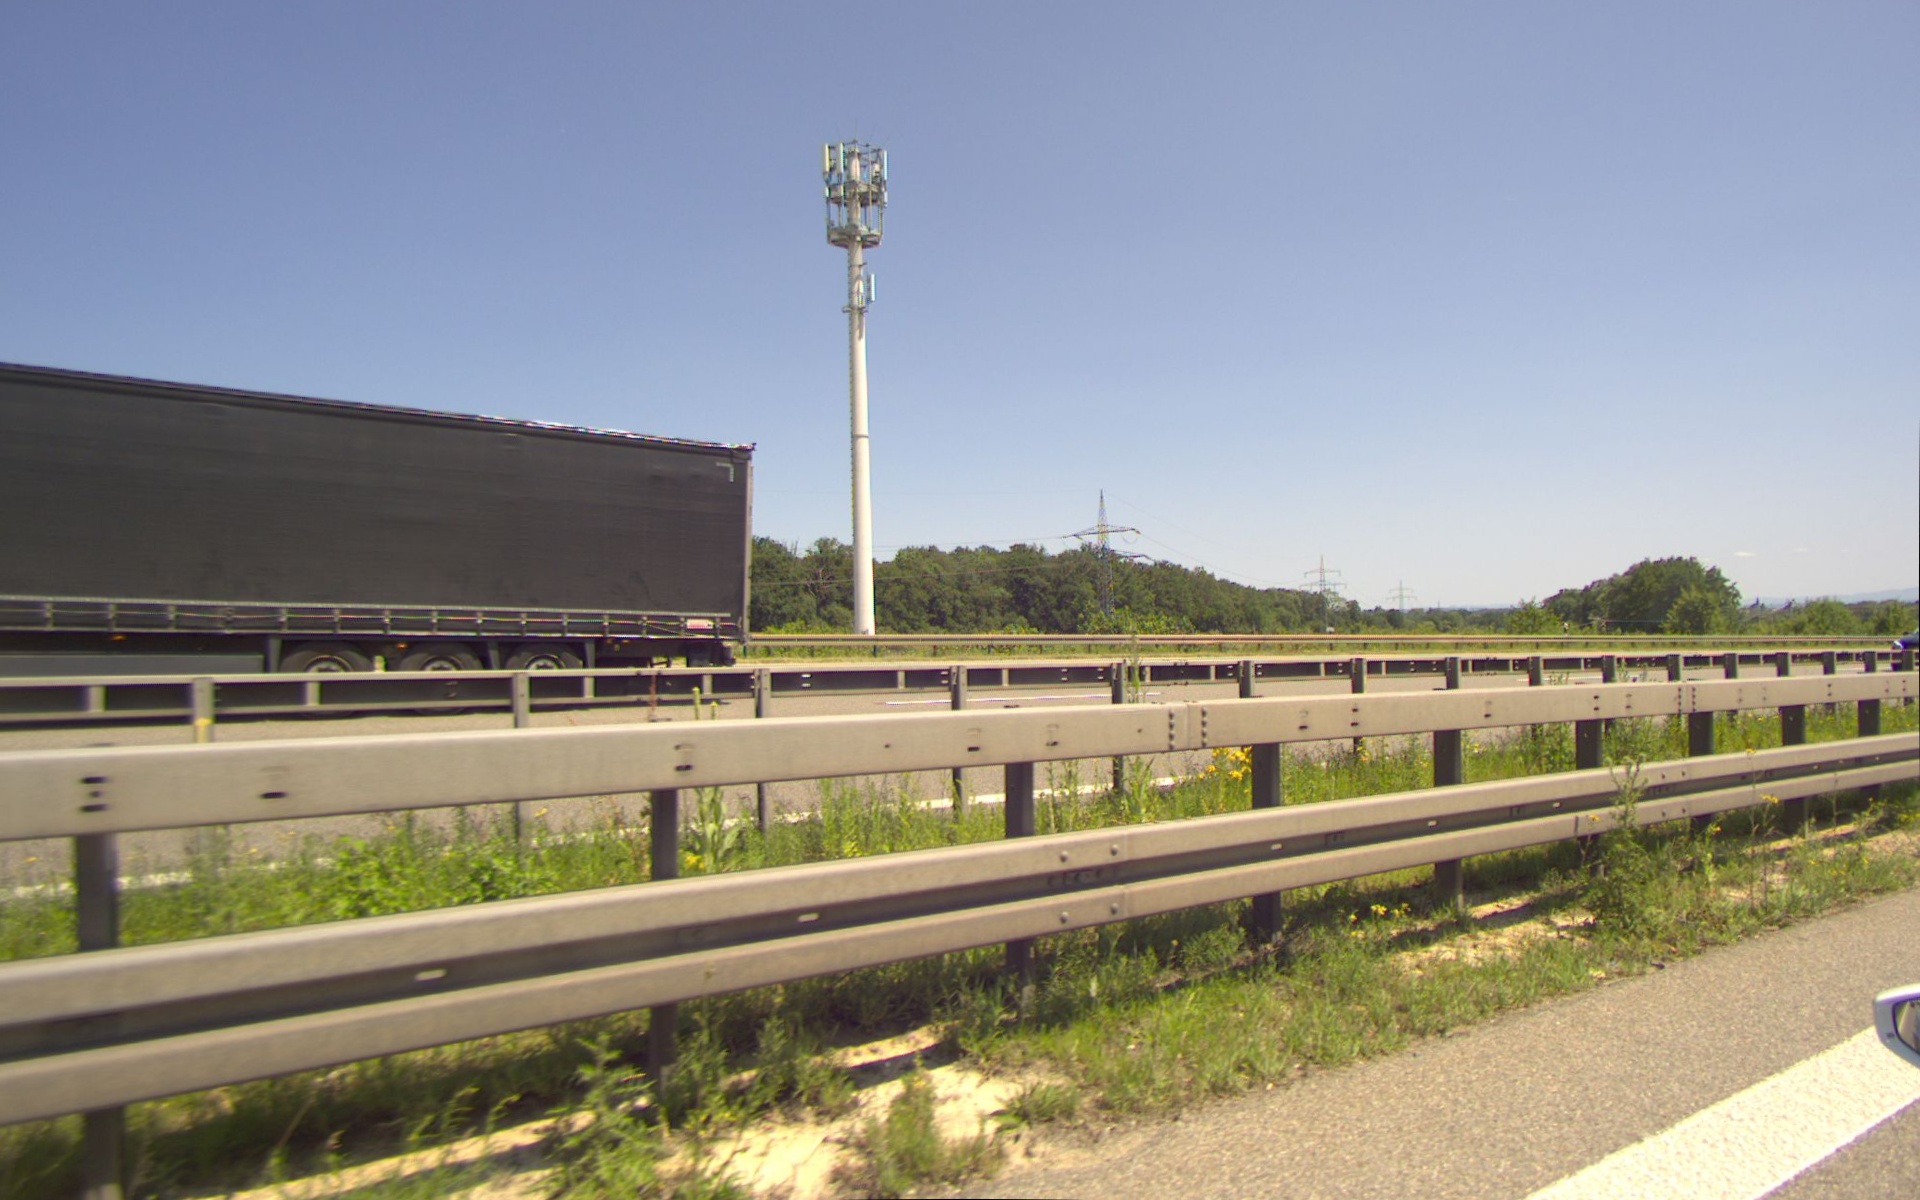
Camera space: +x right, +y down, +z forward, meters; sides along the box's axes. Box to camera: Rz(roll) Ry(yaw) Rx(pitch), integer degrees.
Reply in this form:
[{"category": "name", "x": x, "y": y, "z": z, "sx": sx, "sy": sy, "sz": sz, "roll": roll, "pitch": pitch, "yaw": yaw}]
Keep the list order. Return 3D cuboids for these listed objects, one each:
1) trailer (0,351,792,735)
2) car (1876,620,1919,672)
[{"category": "trailer", "x": -8.696, "y": -0.576, "z": 13.624, "sx": 12.438, "sy": 4.168, "sz": 2.876, "roll": 1, "pitch": 0, "yaw": -31}, {"category": "car", "x": 33.030, "y": 1.543, "z": 33.750, "sx": 4.608, "sy": 1.666, "sz": 1.984, "roll": 1, "pitch": 0, "yaw": -30}]
